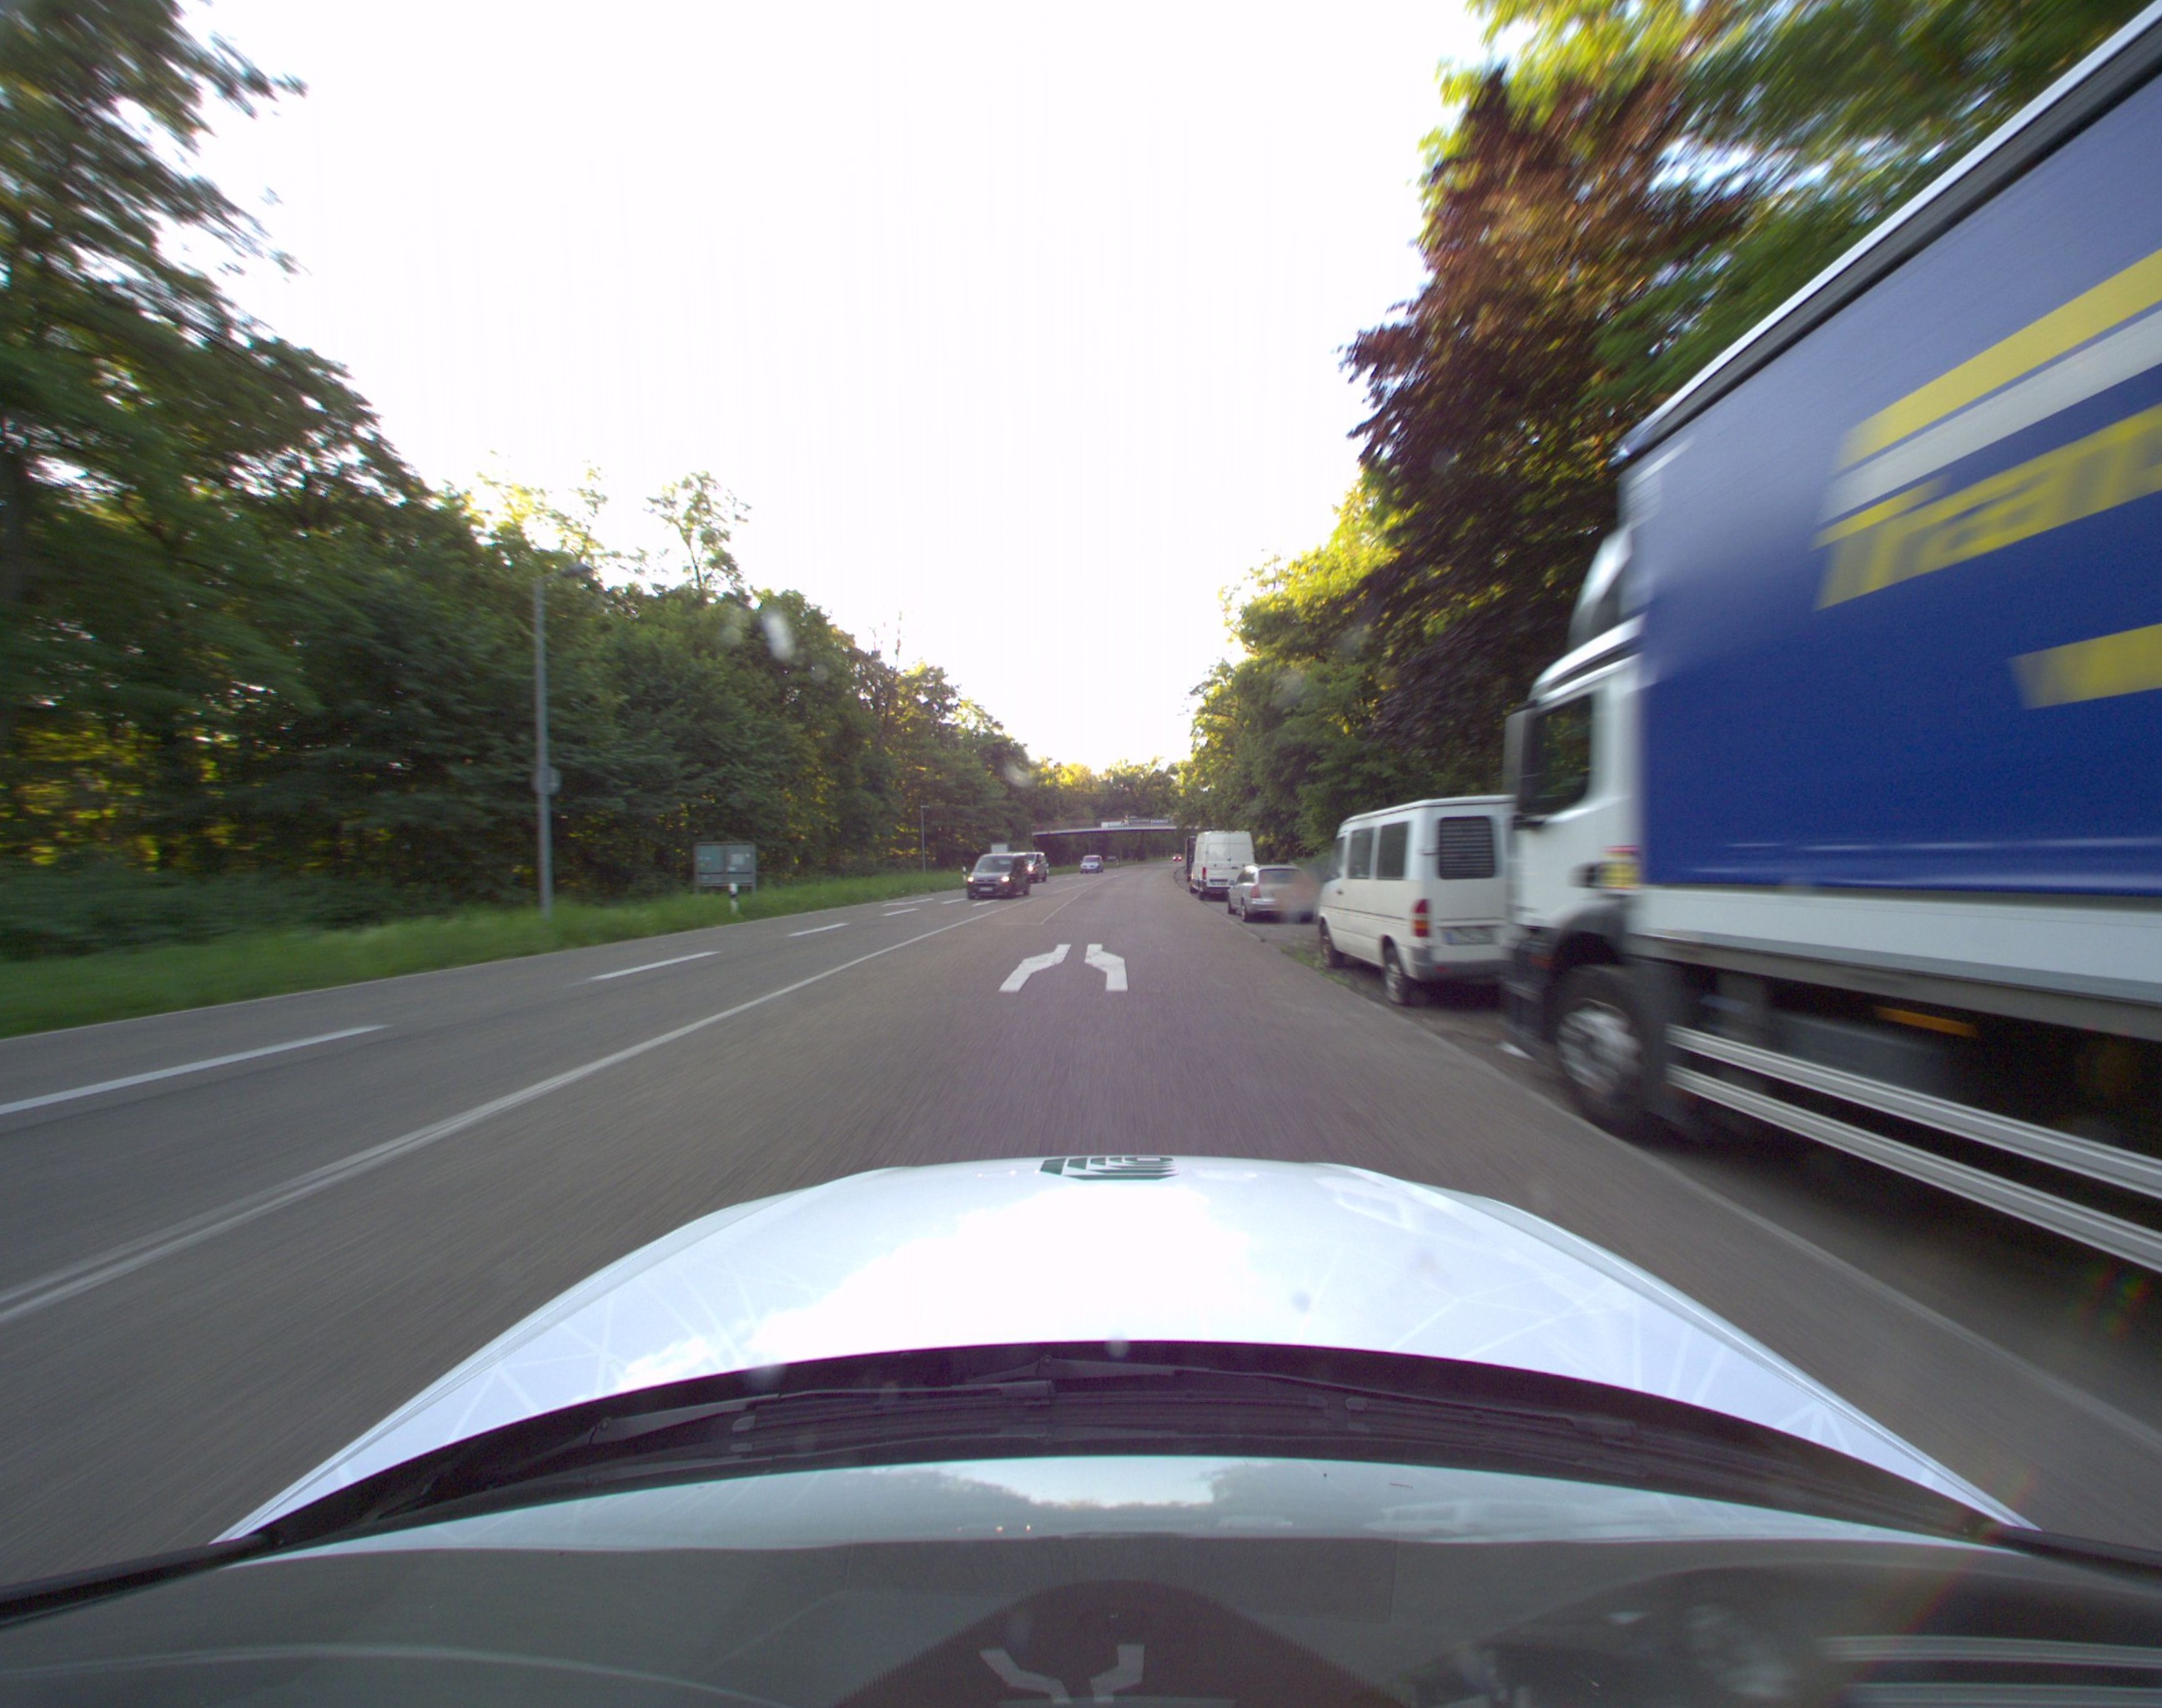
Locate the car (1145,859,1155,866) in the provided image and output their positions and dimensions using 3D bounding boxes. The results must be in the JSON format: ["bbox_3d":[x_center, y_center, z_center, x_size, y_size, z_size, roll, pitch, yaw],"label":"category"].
[{"bbox_3d":[14.493,1.793,170.546,1.882,1.447,4.117,-2,0,7],"label":"car"}]

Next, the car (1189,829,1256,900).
[{"bbox_3d":[5.431,0.392,31.958,1.955,2.512,6.021,1,0,4],"label":"car"}]

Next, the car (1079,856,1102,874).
[{"bbox_3d":[1.001,1.045,80.735,1.834,1.735,4.007,0,0,7],"label":"car"}]

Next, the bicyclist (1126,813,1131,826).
[{"bbox_3d":[6.281,-4.558,107.567,0.661,1.581,0.549,0,-1,9],"label":"bicyclist"}]

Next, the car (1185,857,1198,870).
[{"bbox_3d":[13.078,1.117,96.649,1.508,1.508,3.343,0,0,7],"label":"car"}]

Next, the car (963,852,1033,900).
[{"bbox_3d":[-3.288,0.864,33.048,1.834,1.800,4.756,0,-1,7],"label":"car"}]

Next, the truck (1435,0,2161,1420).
[{"bbox_3d":[4.109,-0.555,1.796,2.648,4.027,9.725,-1,0,2],"label":"truck"}]

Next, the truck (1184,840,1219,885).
[{"bbox_3d":[7.635,0.535,52.103,1.983,2.717,6.628,0,0,7],"label":"truck"}]

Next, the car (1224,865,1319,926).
[{"bbox_3d":[4.898,1.006,21.443,1.677,1.373,4.273,1,0,3],"label":"car"}]

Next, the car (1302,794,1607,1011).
[{"bbox_3d":[4.513,0.510,10.857,1.985,2.189,4.931,1,0,3],"label":"car"}]

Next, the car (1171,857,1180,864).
[{"bbox_3d":[20.787,1.439,179.328,1.882,1.447,4.117,-2,0,7],"label":"car"}]

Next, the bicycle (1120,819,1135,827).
[{"bbox_3d":[6.164,-4.088,107.576,1.834,0.949,0.552,0,-1,8],"label":"bicycle"}]

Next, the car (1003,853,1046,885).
[{"bbox_3d":[-3.537,0.935,51.757,1.983,1.926,4.388,1,0,6],"label":"car"}]
